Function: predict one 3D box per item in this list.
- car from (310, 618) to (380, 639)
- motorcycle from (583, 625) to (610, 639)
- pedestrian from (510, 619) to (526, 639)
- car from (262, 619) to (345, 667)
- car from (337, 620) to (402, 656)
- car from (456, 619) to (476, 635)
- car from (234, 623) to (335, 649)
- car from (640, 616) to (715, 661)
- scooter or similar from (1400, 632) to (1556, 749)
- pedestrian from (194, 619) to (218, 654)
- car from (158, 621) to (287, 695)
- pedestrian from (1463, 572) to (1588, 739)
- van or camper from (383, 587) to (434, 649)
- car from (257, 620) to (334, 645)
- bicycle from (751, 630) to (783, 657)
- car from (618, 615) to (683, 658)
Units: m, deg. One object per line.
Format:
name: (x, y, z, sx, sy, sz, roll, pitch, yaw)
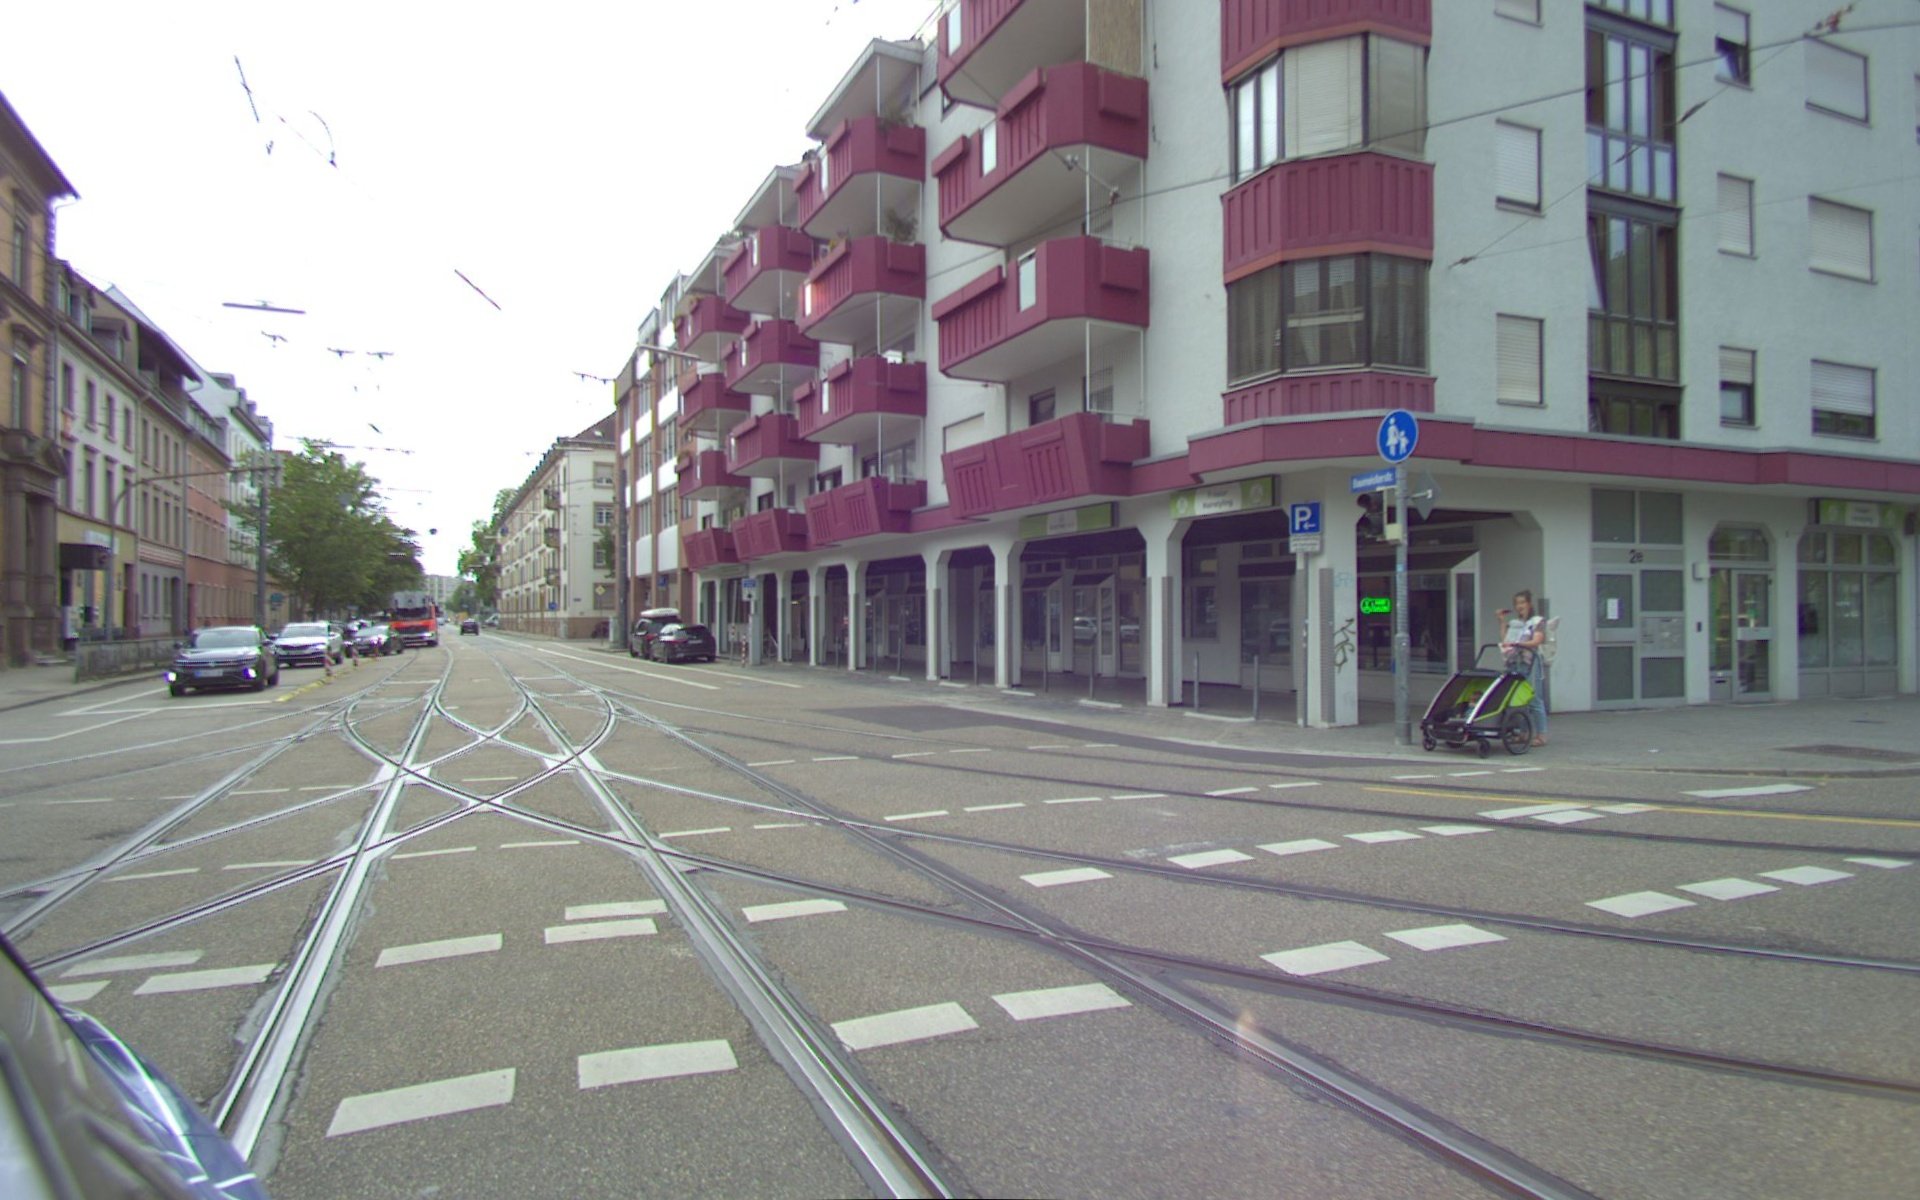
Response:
car: (-50.884, 2.364, 83.780, 1.915, 1.711, 4.568, -1, -3, 39)
motorcycle: (-28.271, 2.488, 78.812, 1.892, 1.094, 0.795, 0, -1, -27)
pedestrian: (-42.774, 2.818, 97.955, 1.017, 1.856, 0.989, -1, -1, 36)
car: (-24.076, 1.531, 37.258, 1.744, 1.603, 4.296, -2, 0, -22)
car: (-27.672, 1.739, 47.538, 1.744, 1.546, 4.061, -2, 0, -17)
car: (-51.023, 2.764, 104.536, 1.744, 1.549, 4.062, -1, 0, -26)
car: (-39.434, 2.110, 59.194, 1.788, 1.484, 4.568, -1, -3, 39)
car: (-10.717, 1.406, 38.171, 1.730, 1.491, 4.713, -2, 0, -27)
scooter or similar: (5.531, 0.930, 10.825, 1.179, 1.137, 0.949, -1, -1, -28)
pedestrian: (-38.347, 1.862, 51.491, 0.720, 1.701, 0.929, 4, -3, -27)
car: (-17.695, 1.323, 24.472, 1.744, 1.559, 4.296, -1, 0, -26)
pedestrian: (6.286, 0.594, 11.272, 0.934, 1.757, 0.815, 0, -1, -29)
van or camper: (-33.502, 1.107, 61.645, 2.564, 3.447, 9.683, 0, -1, -28)
car: (-46.834, 2.323, 71.434, 1.738, 1.711, 4.184, -1, -3, 39)
bicycle: (-6.993, 1.564, 36.608, 0.556, 0.960, 1.654, 0, -1, -34)
car: (-13.315, 1.517, 43.321, 1.781, 1.659, 4.713, -2, 0, -27)
